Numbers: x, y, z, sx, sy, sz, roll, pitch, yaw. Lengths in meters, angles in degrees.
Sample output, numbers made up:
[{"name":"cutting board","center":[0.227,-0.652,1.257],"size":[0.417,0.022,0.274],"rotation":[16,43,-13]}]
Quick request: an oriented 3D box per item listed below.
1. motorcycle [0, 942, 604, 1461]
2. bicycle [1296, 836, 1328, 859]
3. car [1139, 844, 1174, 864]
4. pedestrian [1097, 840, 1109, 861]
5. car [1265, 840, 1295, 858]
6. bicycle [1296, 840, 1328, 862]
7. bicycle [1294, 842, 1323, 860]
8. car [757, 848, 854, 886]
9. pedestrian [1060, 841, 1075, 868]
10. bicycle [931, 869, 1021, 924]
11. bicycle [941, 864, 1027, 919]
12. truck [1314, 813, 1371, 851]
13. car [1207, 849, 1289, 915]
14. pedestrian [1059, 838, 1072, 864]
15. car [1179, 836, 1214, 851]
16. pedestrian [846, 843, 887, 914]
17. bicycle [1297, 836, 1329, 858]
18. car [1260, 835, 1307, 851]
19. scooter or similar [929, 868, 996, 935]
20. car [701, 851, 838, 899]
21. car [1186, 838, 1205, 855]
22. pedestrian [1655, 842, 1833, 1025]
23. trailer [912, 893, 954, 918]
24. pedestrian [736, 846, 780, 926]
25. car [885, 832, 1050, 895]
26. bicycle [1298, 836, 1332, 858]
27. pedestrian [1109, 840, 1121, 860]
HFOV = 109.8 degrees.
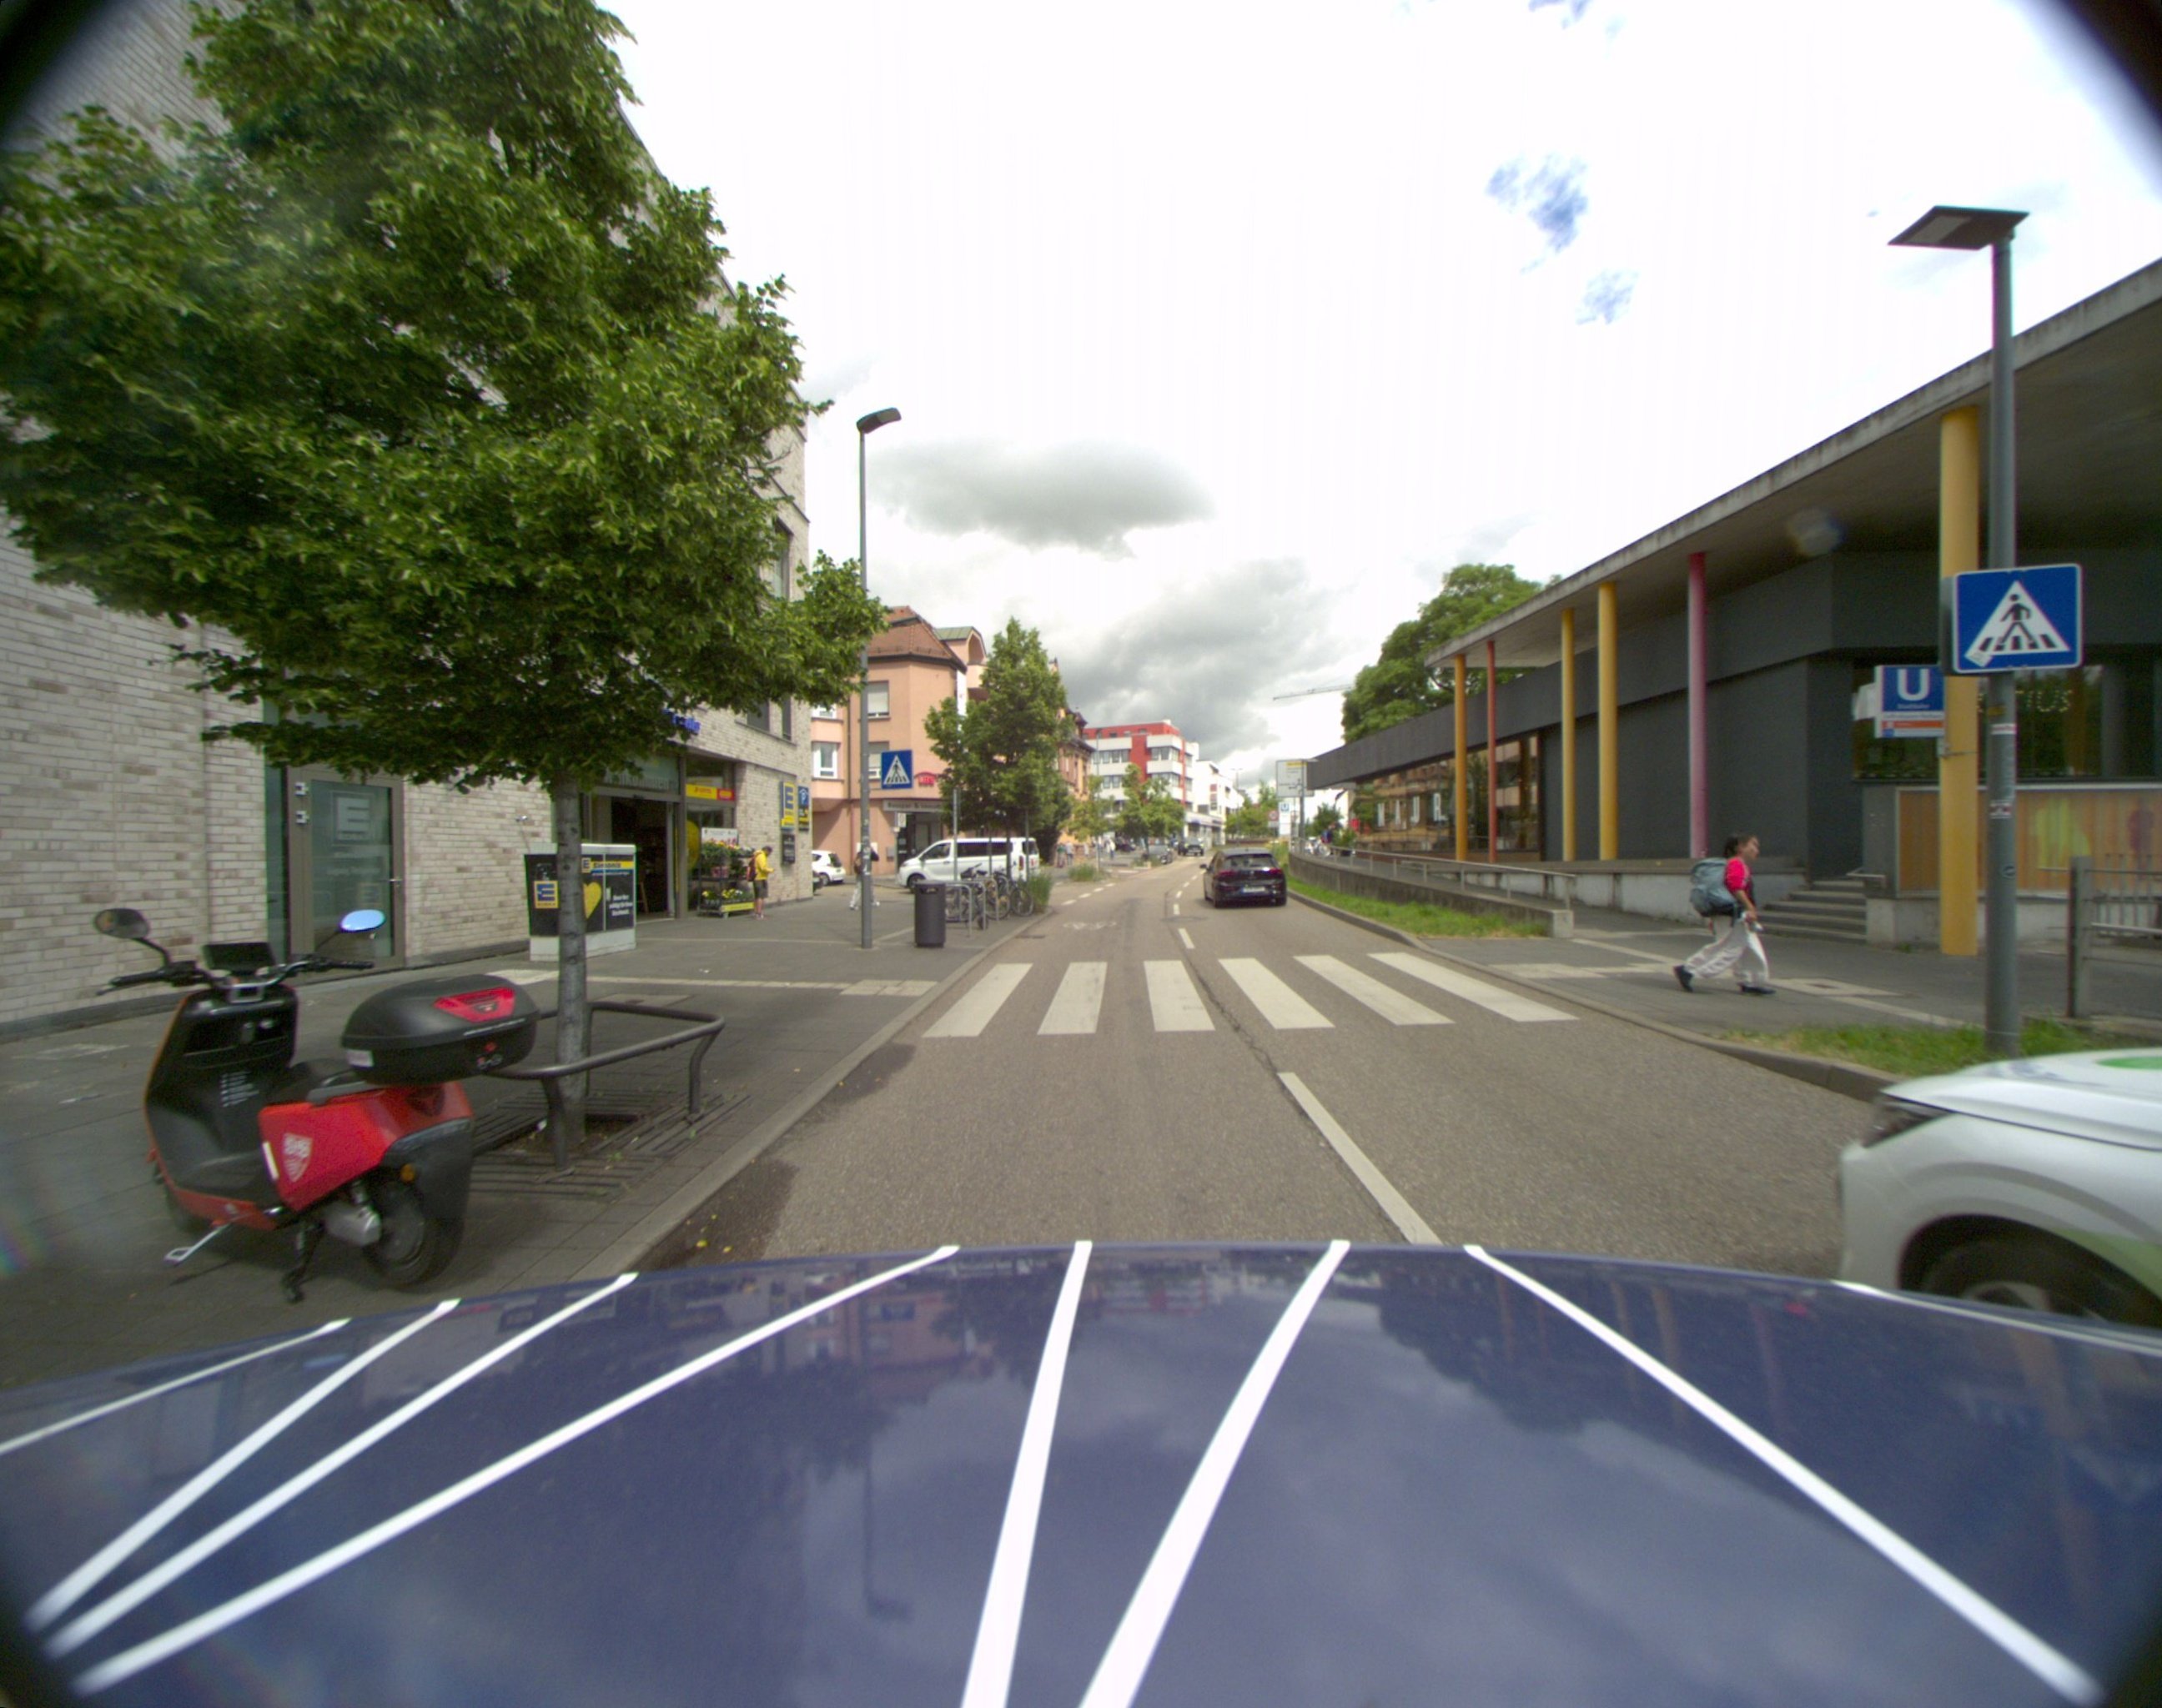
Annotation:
[{"name":"motorcycle","center":[-2.815,1.047,2.739],"size":[2.052,1.259,0.673],"rotation":[2,2,17]},{"name":"bicycle","center":[11.761,-0.329,38.672],"size":[1.548,1.121,0.534],"rotation":[0,1,14]},{"name":"car","center":[5.710,-0.021,56.738],"size":[1.996,1.406,4.740],"rotation":[0,1,13]},{"name":"pedestrian","center":[1.788,-0.294,61.719],"size":[0.738,1.631,0.677],"rotation":[0,3,38]},{"name":"car","center":[18.075,-0.454,68.915],"size":[1.823,1.576,4.172],"rotation":[2,2,25]},{"name":"bicycle","center":[12.168,-0.148,40.040],"size":[1.548,1.121,0.534],"rotation":[0,1,14]},{"name":"bicycle","center":[14.264,-0.178,47.573],"size":[1.689,1.075,0.515],"rotation":[0,0,9]},{"name":"car","center":[-11.422,0.526,31.565],"size":[3.386,1.468,1.720],"rotation":[1,1,11]},{"name":"pedestrian","center":[-0.843,0.023,47.615],"size":[0.745,1.629,0.928],"rotation":[2,1,12]},{"name":"bicycle","center":[-2.296,0.916,16.722],"size":[1.826,1.125,0.756],"rotation":[1,2,6]},{"name":"bicycle","center":[-2.229,0.849,17.549],"size":[1.826,1.194,0.756],"rotation":[1,2,6]},{"name":"truck","center":[28.308,-2.447,81.959],"size":[2.675,3.821,10.867],"rotation":[0,3,36]},{"name":"car","center":[4.204,0.644,19.698],"size":[1.775,1.455,4.237],"rotation":[-2,1,9]},{"name":"pedestrian","center":[-1.006,-0.178,49.929],"size":[0.717,1.676,0.945],"rotation":[1,3,9]},{"name":"car","center":[13.796,-1.266,90.836],"size":[4.007,1.653,1.839],"rotation":[-4,3,-39]},{"name":"pedestrian","center":[-5.389,0.596,19.127],"size":[0.659,1.731,1.018],"rotation":[0,1,5]},{"name":"bicycle","center":[11.988,-0.353,39.351],"size":[1.548,1.121,0.534],"rotation":[0,1,14]},{"name":"car","center":[19.867,-1.100,74.558],"size":[4.051,1.391,1.816],"rotation":[-2,2,-1]},{"name":"scooter or similar","center":[-2.306,0.914,14.782],"size":[1.198,1.242,0.494],"rotation":[1,2,6]},{"name":"car","center":[-10.513,0.684,25.782],"size":[3.902,1.468,1.784],"rotation":[1,1,5]},{"name":"car","center":[11.257,-0.744,74.469],"size":[1.802,1.571,4.001],"rotation":[-2,2,9]},{"name":"pedestrian","center":[6.087,0.686,7.033],"size":[0.929,1.556,0.814],"rotation":[-2,2,-2]},{"name":"trailer","center":[-3.498,1.210,17.995],"size":[0.721,0.525,0.812],"rotation":[-1,1,10]},{"name":"pedestrian","center":[-7.010,0.672,16.514],"size":[0.658,1.683,0.633],"rotation":[1,2,40]},{"name":"car","center":[-4.044,0.343,27.227],"size":[5.383,2.002,2.002],"rotation":[-2,1,17]},{"name":"bicycle","center":[11.587,-0.345,37.679],"size":[1.548,1.121,0.534],"rotation":[0,1,14]},{"name":"pedestrian","center":[2.725,-0.320,61.733],"size":[0.696,1.649,0.741],"rotation":[-1,3,24]}]
